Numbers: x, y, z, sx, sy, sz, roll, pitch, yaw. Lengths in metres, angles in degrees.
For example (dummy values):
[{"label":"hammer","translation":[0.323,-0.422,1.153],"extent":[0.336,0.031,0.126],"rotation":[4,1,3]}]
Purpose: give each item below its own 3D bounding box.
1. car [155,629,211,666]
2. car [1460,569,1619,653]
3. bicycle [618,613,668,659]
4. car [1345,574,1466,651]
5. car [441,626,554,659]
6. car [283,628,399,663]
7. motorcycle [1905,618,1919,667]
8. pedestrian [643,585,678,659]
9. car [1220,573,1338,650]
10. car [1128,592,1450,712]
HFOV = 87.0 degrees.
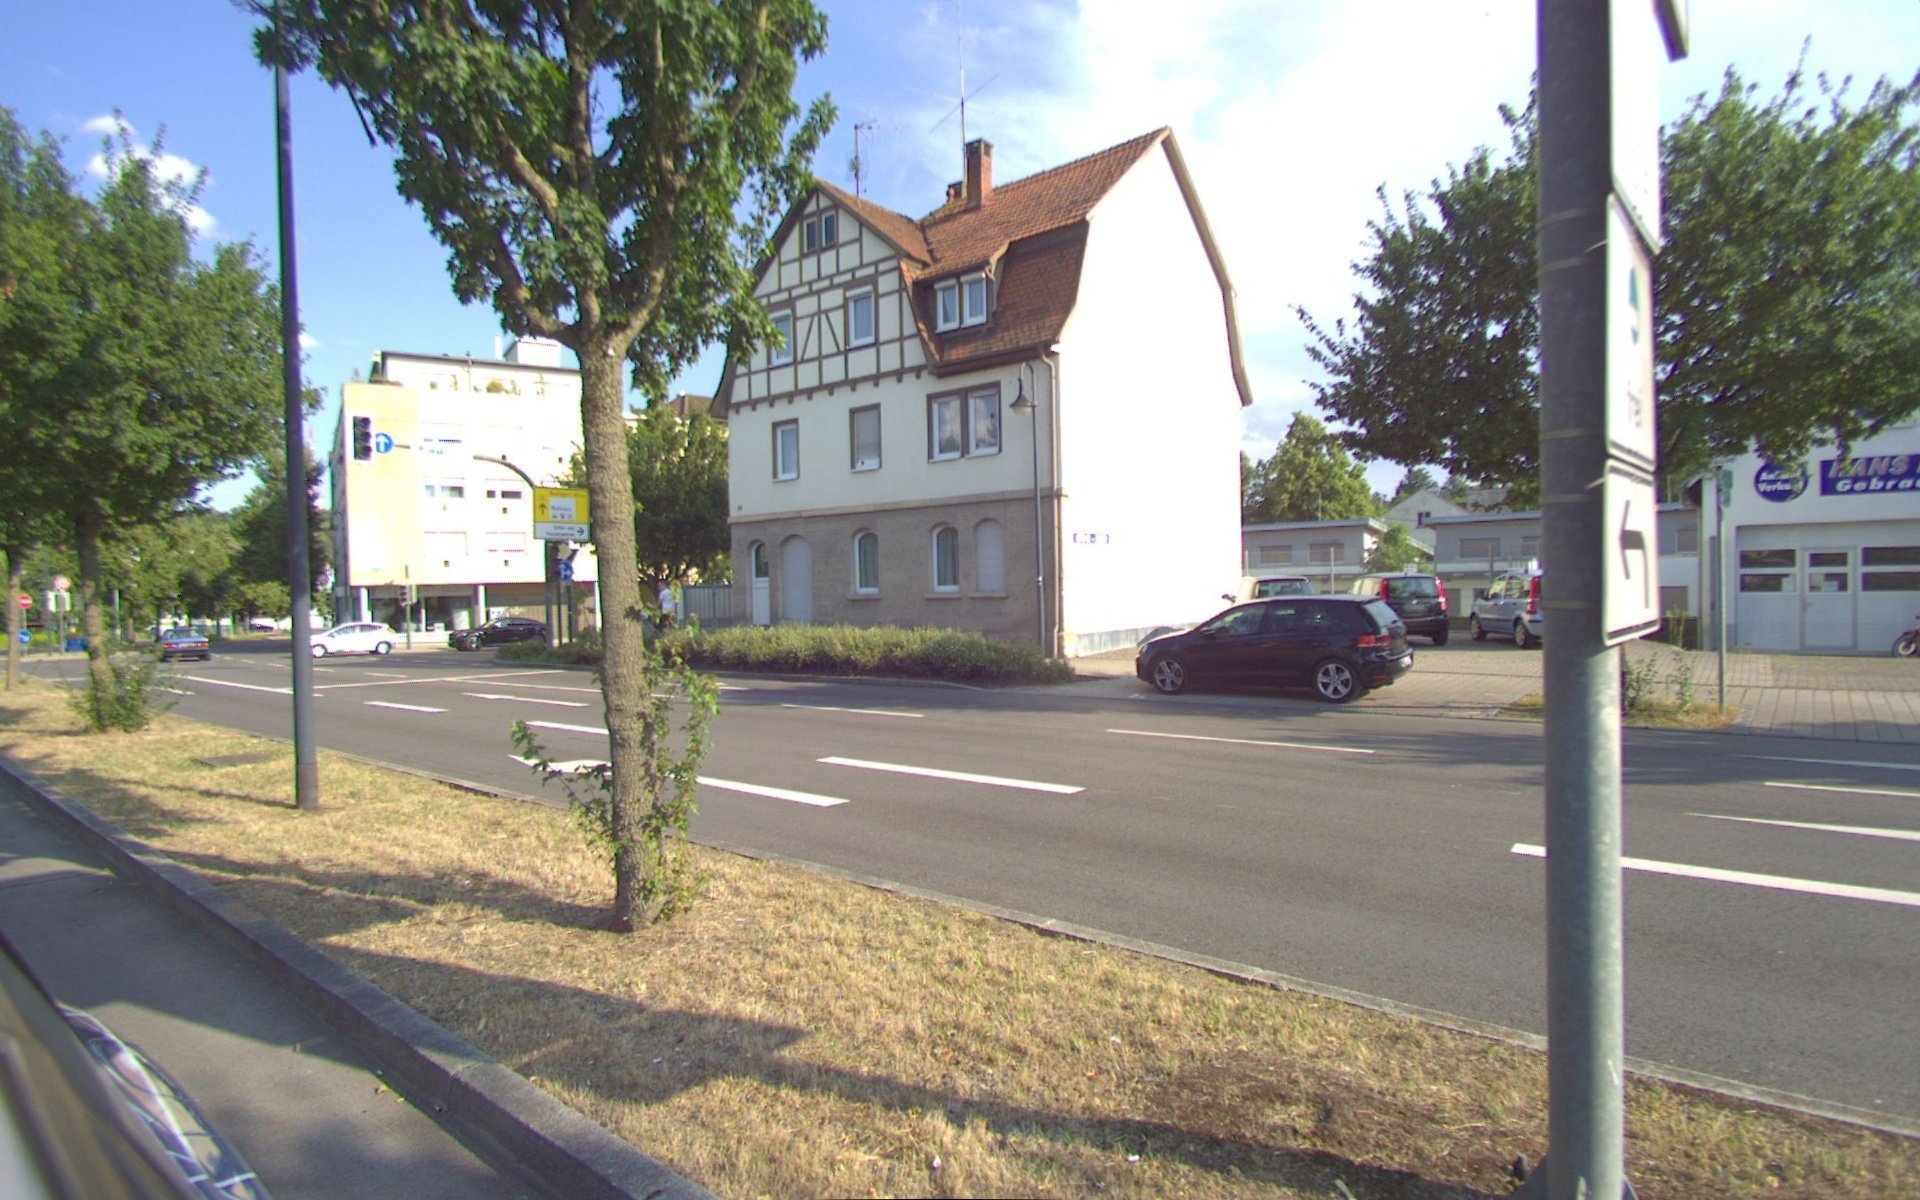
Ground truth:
[{"label":"car","translation":[-31.881,1.899,41.491],"extent":[1.739,1.364,4.170],"rotation":[-1,0,-38]},{"label":"car","translation":[11.835,0.222,20.971],"extent":[1.750,1.564,3.983],"rotation":[-1,0,13]},{"label":"bicycle","translation":[-8.884,0.991,28.350],"extent":[1.514,1.231,0.672],"rotation":[-1,-1,42]},{"label":"car","translation":[9.840,0.270,22.657],"extent":[1.750,1.564,3.983],"rotation":[-1,0,13]},{"label":"car","translation":[-22.061,2.002,48.330],"extent":[4.595,1.364,1.770],"rotation":[-1,0,-42]},{"label":"car","translation":[-27.028,1.960,44.254],"extent":[4.070,1.364,1.769],"rotation":[-1,0,-44]},{"label":"motorcycle","translation":[19.001,0.792,18.709],"extent":[2.211,0.927,0.500],"rotation":[-1,-1,44]},{"label":"pedestrian","translation":[-8.211,0.602,27.733],"extent":[0.588,1.997,0.690],"rotation":[-1,-1,42]},{"label":"car","translation":[7.140,0.194,23.040],"extent":[1.746,1.563,3.993],"rotation":[-2,1,6]},{"label":"car","translation":[4.841,0.700,15.194],"extent":[4.192,1.454,1.816],"rotation":[-1,3,40]}]
